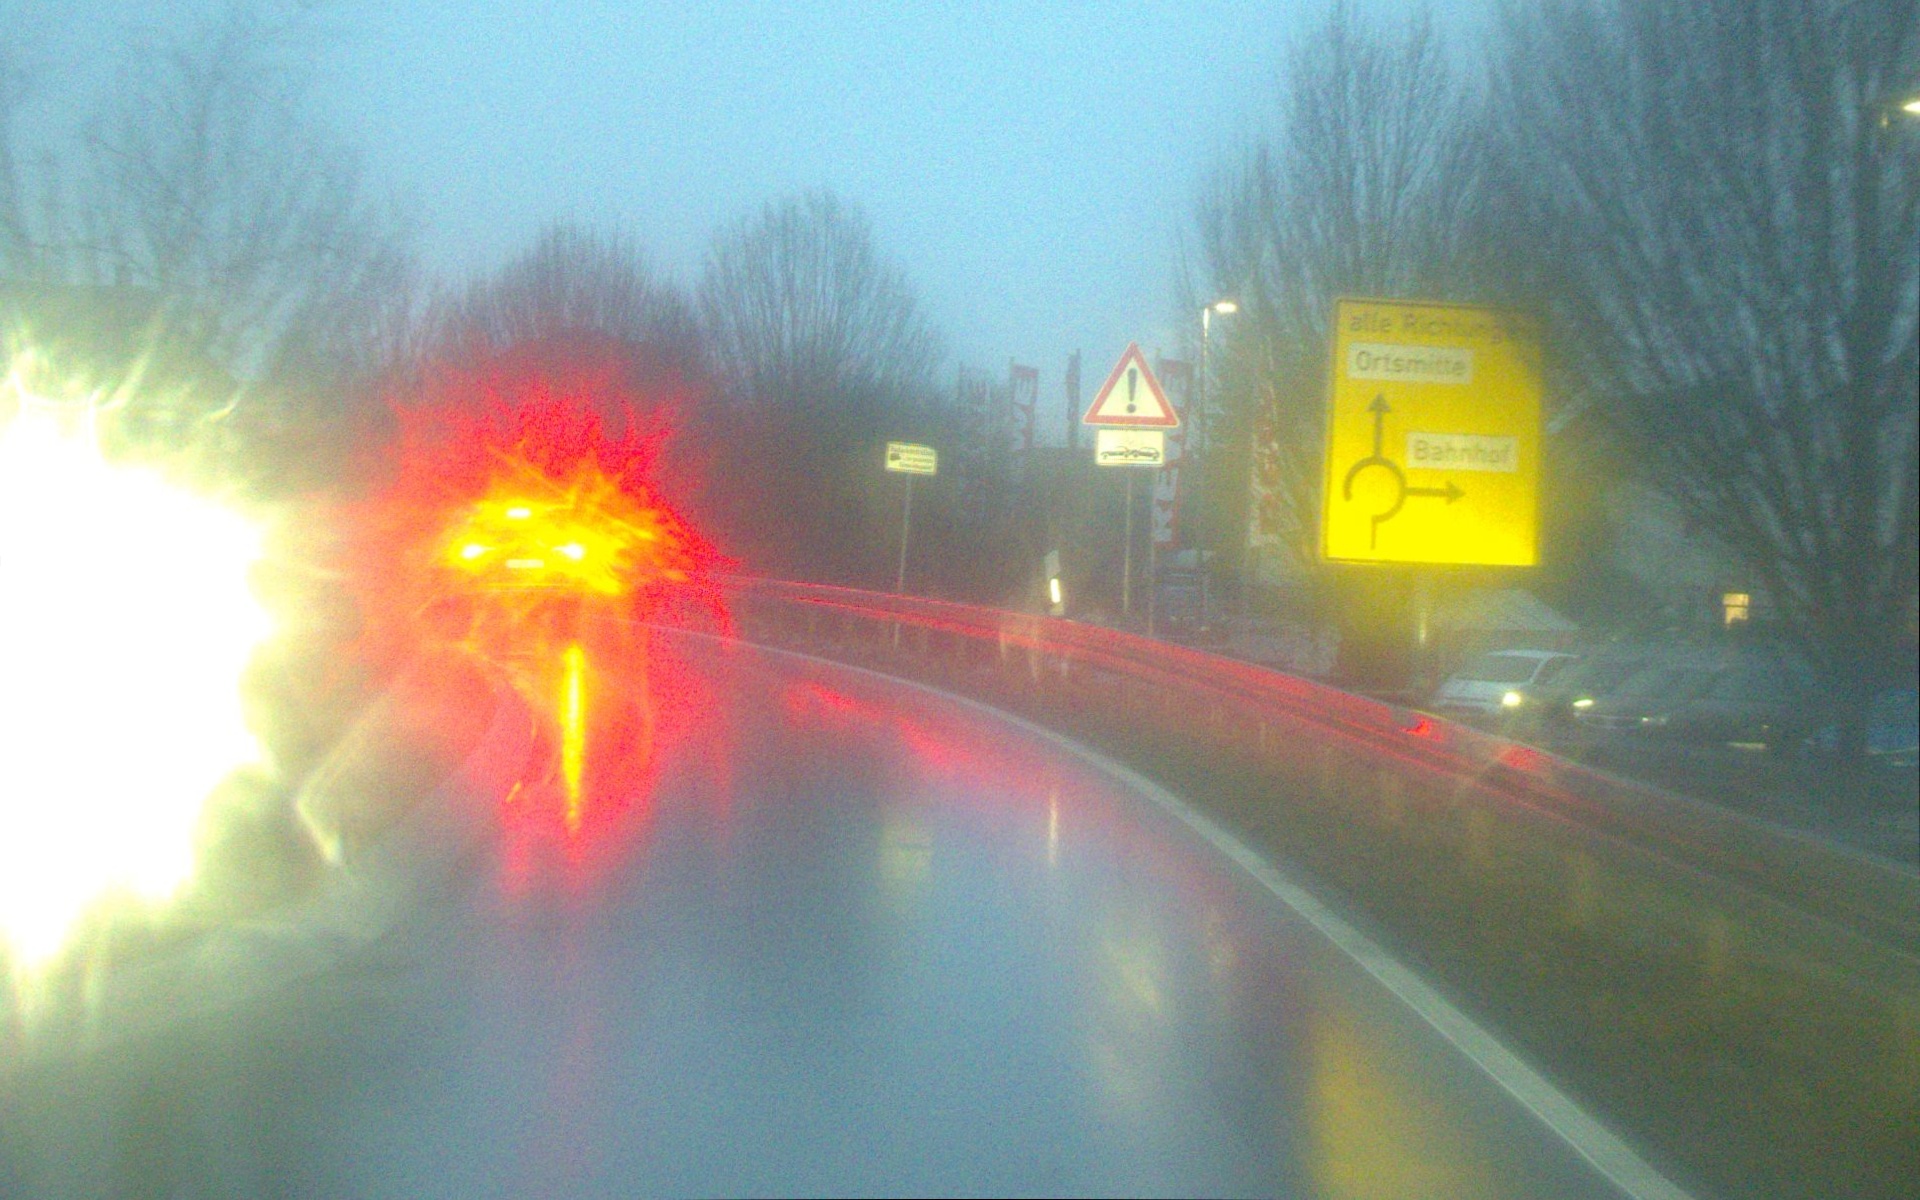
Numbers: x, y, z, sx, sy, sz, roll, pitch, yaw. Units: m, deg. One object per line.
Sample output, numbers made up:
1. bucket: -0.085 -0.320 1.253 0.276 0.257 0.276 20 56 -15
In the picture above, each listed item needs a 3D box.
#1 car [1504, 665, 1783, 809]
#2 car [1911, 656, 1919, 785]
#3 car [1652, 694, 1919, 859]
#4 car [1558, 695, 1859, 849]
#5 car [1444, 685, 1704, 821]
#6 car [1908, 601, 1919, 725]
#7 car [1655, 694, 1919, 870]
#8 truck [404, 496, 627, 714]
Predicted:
1. car: 10.318 2.077 52.154 3.988 2.007 1.999 2 -2 8
2. car: 19.975 2.303 63.511 4.357 2.370 2.098 1 -2 24
3. car: 11.200 2.318 45.142 3.988 2.007 1.999 2 -2 8
4. car: 10.559 2.425 48.772 3.988 2.007 1.999 2 -2 8
5. car: 9.793 2.442 55.105 3.988 2.007 1.999 2 -2 8
6. car: 23.715 1.487 77.267 4.357 2.748 2.098 1 -2 24
7. car: 10.661 2.240 42.279 3.988 2.007 1.999 2 -2 8
8. truck: -6.530 -0.008 49.836 2.531 2.859 5.924 2 1 -13
